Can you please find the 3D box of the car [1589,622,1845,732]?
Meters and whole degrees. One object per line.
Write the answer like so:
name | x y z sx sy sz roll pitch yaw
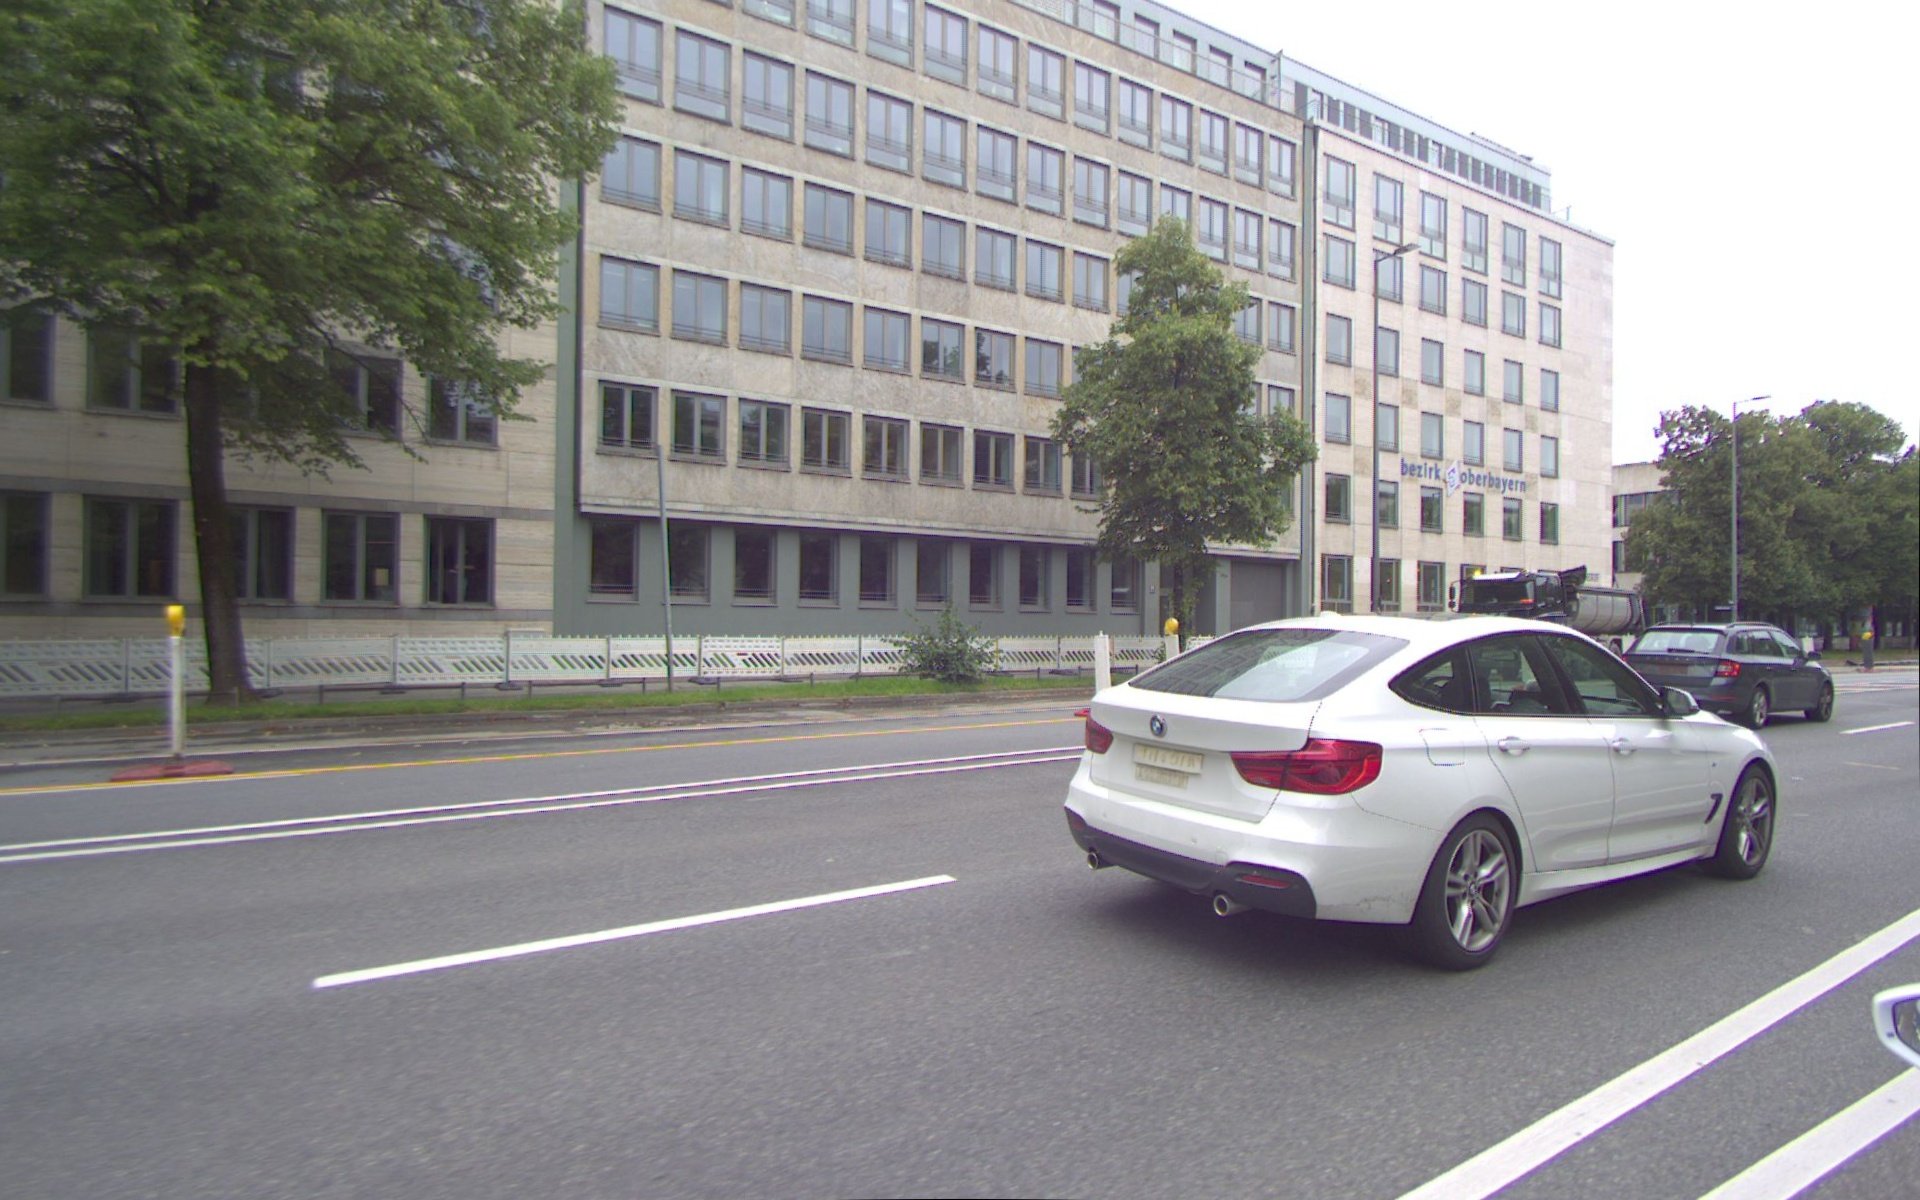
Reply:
car | 11.595 1.100 15.319 4.229 1.466 1.783 2 -2 -33

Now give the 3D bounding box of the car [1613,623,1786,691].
car | 17.910 1.320 24.230 5.164 1.485 1.864 1 -2 -36

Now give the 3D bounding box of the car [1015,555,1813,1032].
car | 2.822 0.747 5.652 4.975 1.658 1.782 2 -2 -34

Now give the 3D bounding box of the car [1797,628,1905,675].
car | 31.919 1.814 35.975 3.959 1.617 1.981 1 -2 -34

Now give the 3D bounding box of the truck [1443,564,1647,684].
truck | 19.001 0.742 32.319 8.690 3.401 2.817 1 0 -39
